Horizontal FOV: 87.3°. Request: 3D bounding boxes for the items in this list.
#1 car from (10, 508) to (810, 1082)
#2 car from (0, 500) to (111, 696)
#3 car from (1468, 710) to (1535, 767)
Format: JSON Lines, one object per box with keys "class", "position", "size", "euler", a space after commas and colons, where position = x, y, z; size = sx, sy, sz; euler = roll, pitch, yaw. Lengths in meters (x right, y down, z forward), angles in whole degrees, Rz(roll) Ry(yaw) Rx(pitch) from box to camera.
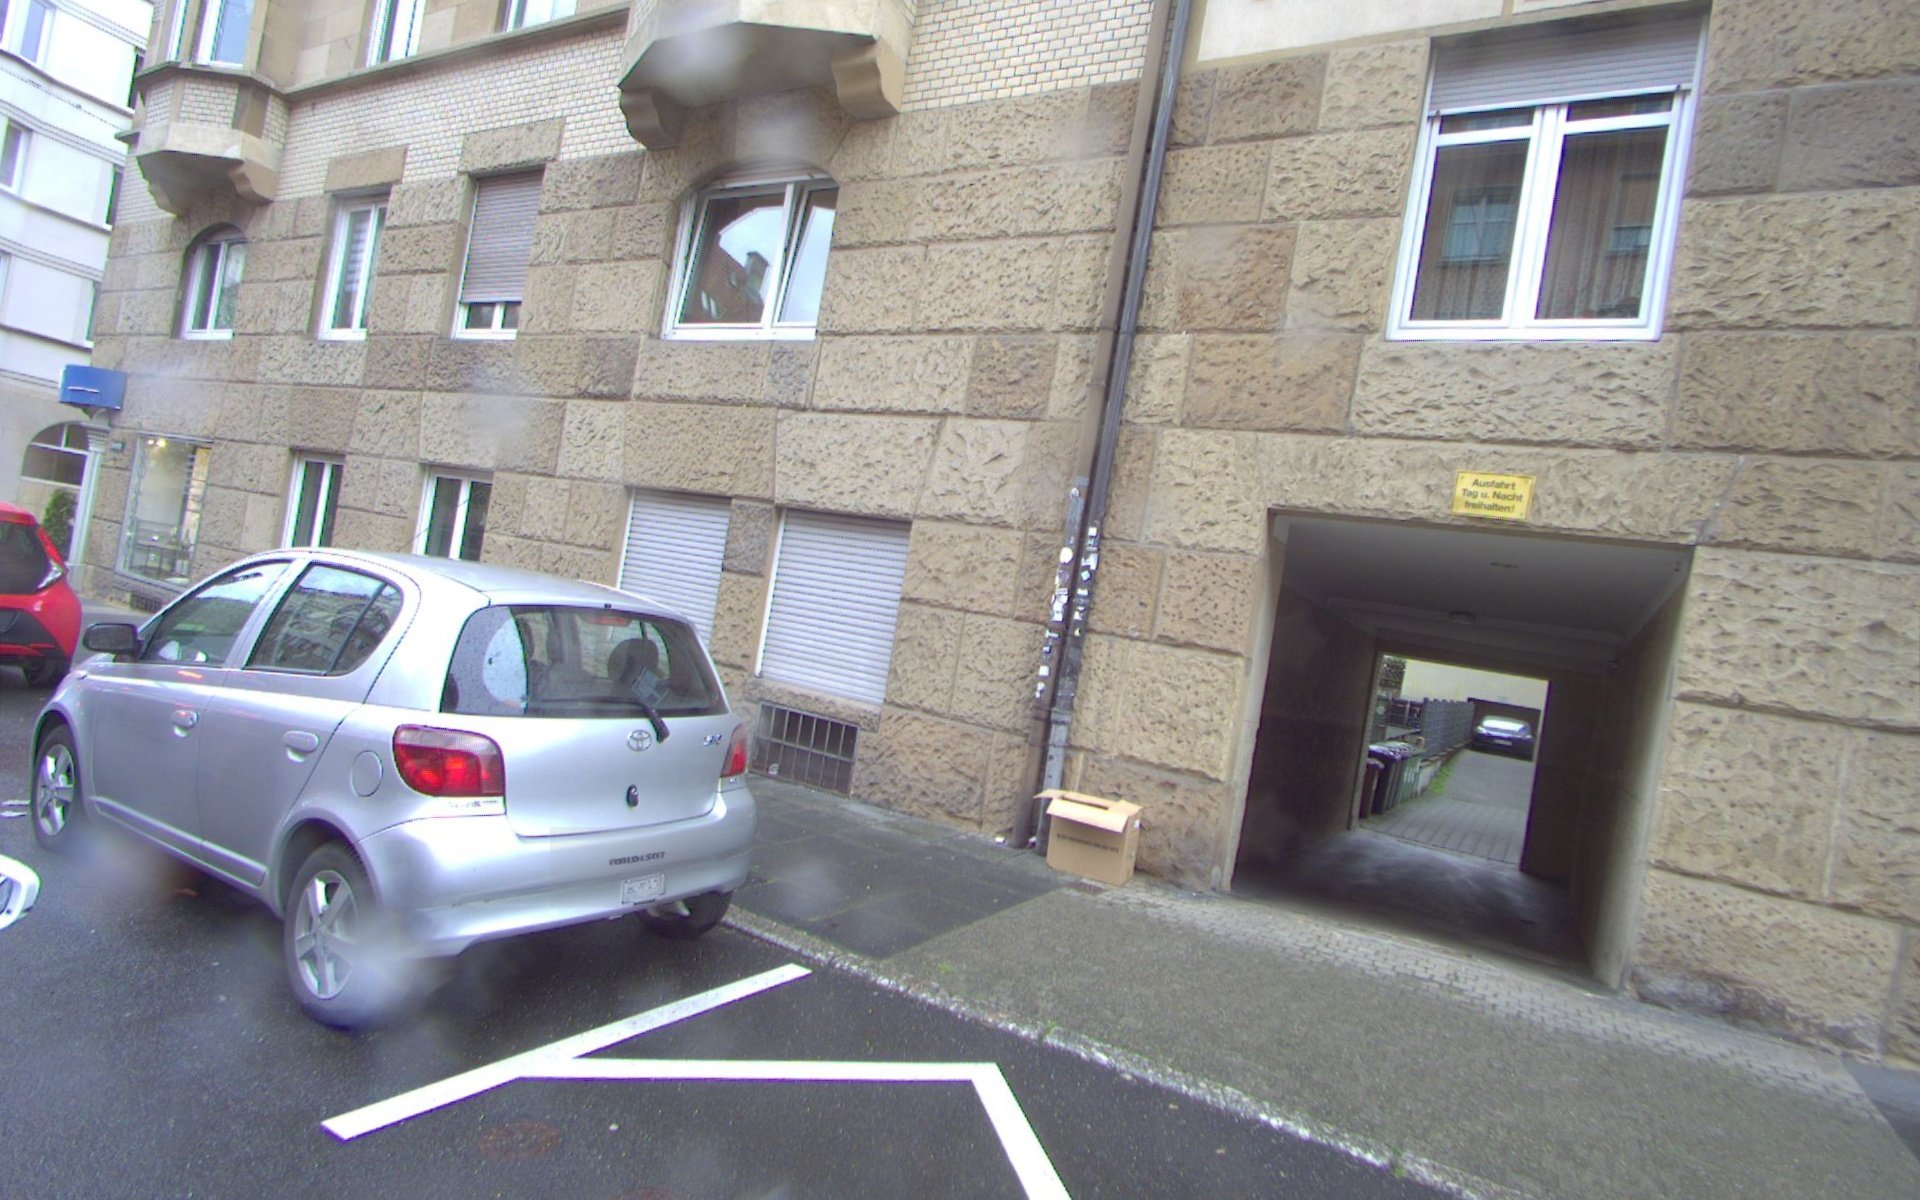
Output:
{"class": "car", "position": [-2.499, 0.541, 4.423], "size": [3.258, 1.485, 1.616], "euler": [7, 0, 33]}
{"class": "car", "position": [-8.748, -0.207, 8.200], "size": [3.243, 1.464, 1.646], "euler": [7, -2, 29]}
{"class": "car", "position": [18.324, 4.663, 33.969], "size": [1.693, 1.538, 4.102], "euler": [7, -3, 31]}
